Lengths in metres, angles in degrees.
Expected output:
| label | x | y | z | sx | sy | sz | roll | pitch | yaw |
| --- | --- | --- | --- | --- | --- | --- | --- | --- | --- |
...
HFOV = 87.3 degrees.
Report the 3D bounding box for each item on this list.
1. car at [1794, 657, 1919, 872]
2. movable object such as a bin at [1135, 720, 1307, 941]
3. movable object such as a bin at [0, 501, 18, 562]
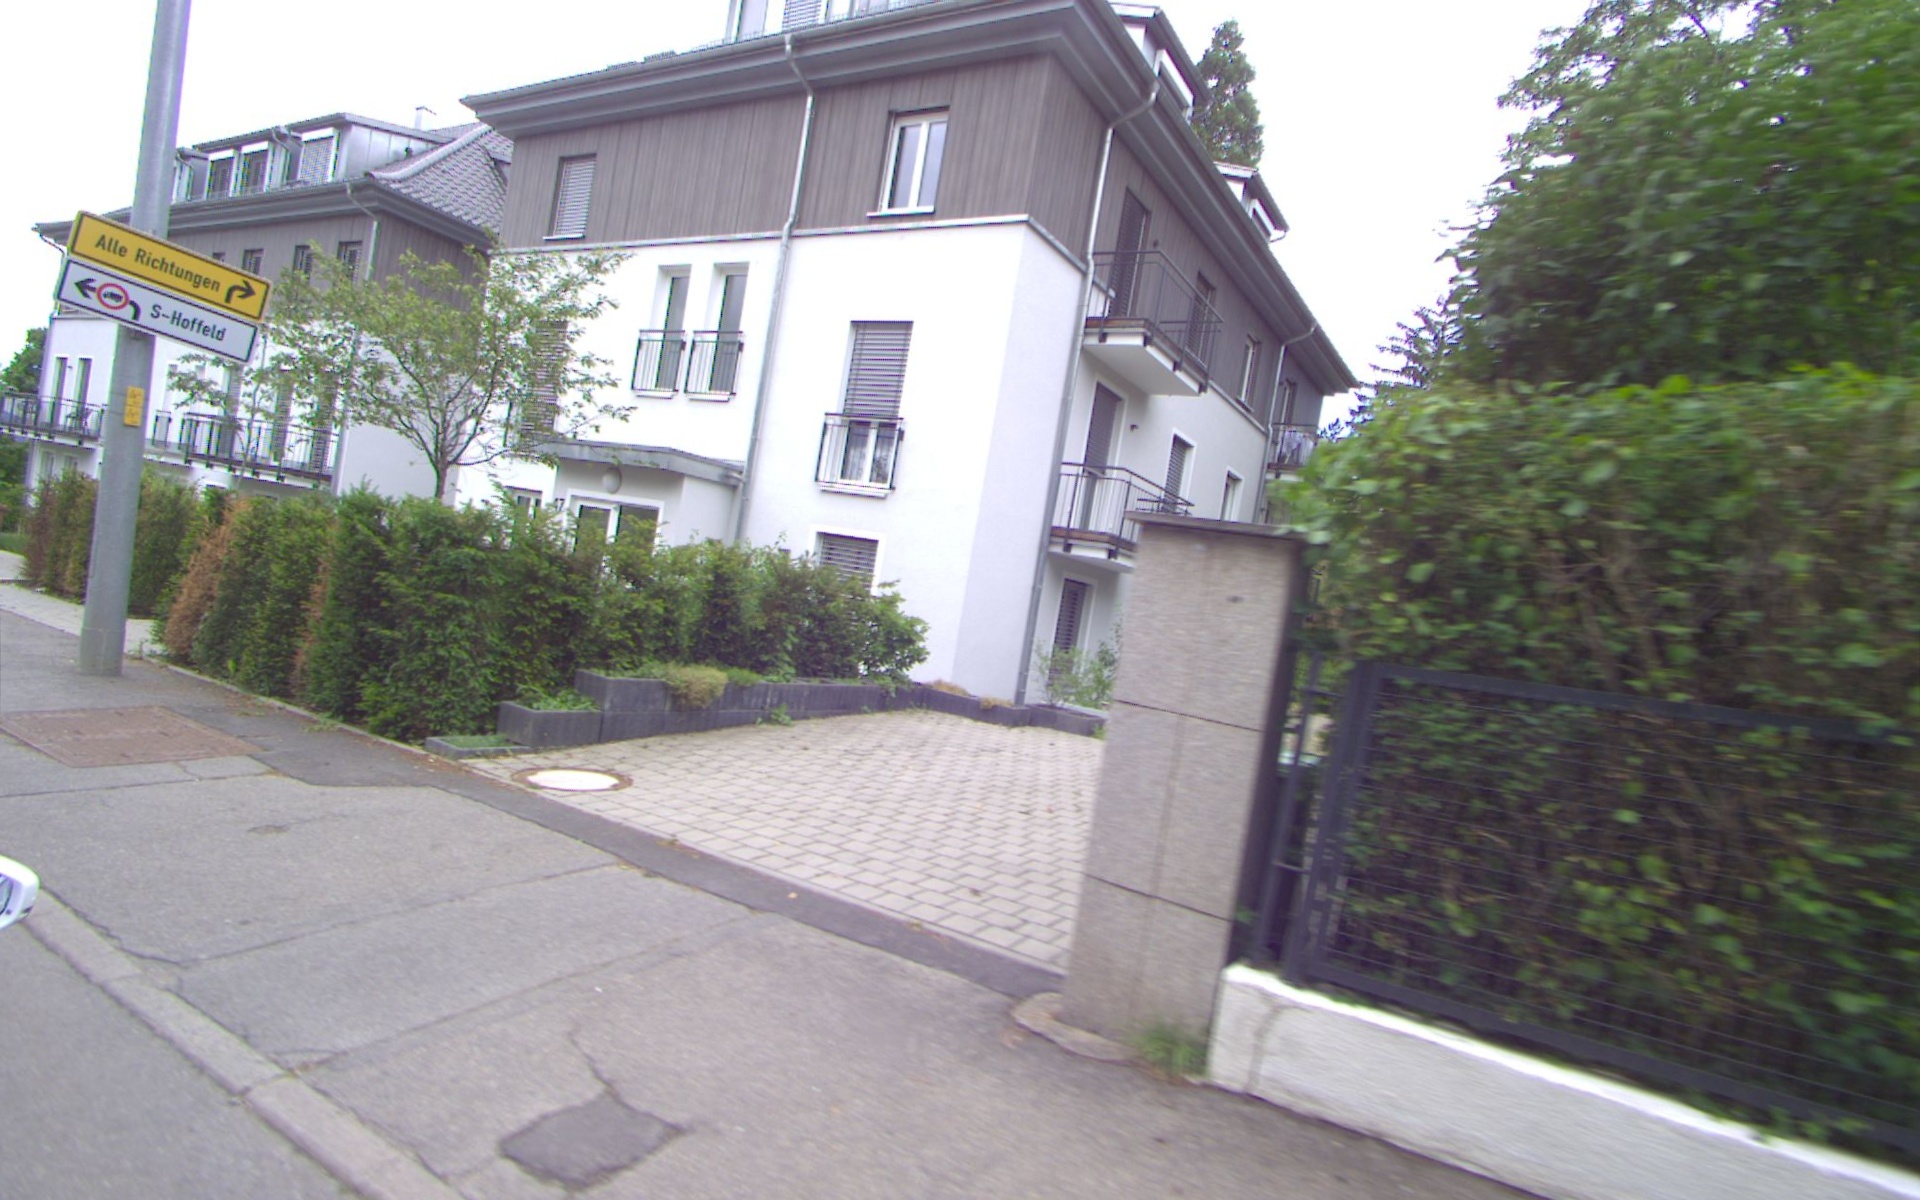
| label | x | y | z | sx | sy | sz | roll | pitch | yaw |
| --- | --- | --- | --- | --- | --- | --- | --- | --- | --- |
| car | 8.739 | 1.484 | 8.295 | 3.969 | 1.481 | 1.979 | 8 | -1 | -38 |
| movable object such as a bin | 1.342 | 1.147 | 5.182 | 0.596 | 0.950 | 0.464 | 9 | 3 | 42 |
| movable object such as a bin | -17.889 | -1.310 | 18.304 | 0.670 | 1.085 | 0.716 | 8 | -2 | -5 |
